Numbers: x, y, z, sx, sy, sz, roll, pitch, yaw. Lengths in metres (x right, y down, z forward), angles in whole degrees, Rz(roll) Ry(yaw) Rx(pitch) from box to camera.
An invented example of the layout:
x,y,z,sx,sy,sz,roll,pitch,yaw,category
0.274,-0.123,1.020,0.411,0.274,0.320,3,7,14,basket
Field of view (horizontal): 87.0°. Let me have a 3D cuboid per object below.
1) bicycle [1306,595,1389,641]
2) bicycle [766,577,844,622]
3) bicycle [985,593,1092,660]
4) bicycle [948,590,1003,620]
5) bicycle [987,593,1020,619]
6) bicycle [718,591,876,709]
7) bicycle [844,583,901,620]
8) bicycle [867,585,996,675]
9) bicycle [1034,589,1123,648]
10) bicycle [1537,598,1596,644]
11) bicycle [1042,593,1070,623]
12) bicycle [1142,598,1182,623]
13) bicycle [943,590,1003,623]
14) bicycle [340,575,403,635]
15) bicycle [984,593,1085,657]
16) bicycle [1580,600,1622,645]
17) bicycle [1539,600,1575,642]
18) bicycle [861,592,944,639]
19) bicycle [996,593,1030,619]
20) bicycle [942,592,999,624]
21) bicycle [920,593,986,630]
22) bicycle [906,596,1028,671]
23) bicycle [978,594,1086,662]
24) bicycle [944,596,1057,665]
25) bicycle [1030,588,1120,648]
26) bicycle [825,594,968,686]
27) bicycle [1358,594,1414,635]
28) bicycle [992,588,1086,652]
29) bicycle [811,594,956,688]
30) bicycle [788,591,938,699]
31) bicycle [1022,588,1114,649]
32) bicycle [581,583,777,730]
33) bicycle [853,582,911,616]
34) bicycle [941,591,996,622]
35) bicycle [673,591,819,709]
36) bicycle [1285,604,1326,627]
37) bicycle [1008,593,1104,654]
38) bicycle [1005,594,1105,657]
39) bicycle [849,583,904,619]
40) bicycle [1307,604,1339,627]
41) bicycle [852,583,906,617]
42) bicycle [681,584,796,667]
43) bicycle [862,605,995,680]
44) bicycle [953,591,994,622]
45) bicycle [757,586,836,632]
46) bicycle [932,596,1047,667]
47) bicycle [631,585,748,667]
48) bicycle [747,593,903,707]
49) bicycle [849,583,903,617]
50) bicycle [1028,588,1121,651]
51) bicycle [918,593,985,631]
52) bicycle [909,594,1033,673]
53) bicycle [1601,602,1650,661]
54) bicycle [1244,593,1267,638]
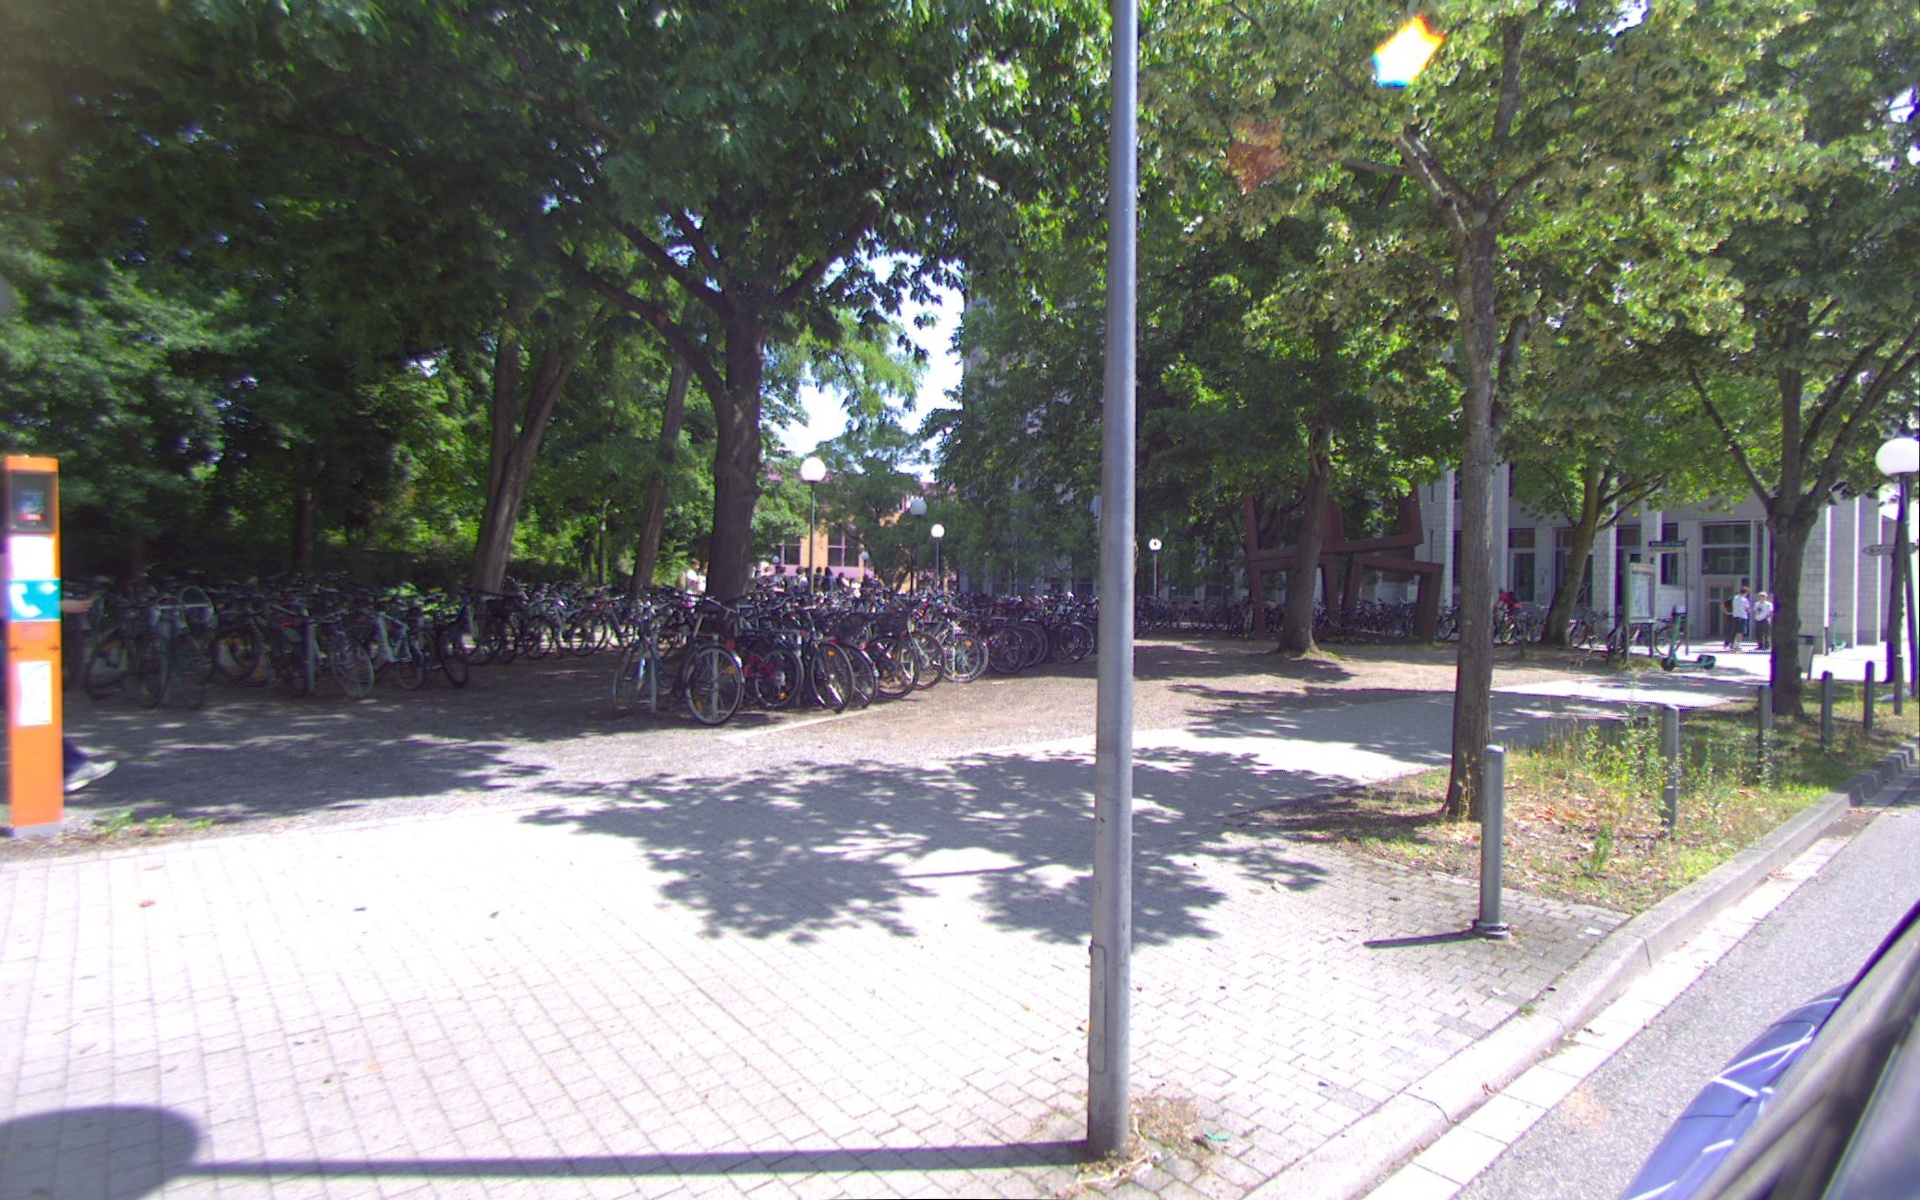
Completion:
x,y,z,sx,sy,sz,roll,pitch,yaw,category
9.848,0.440,25.770,1.896,1.123,0.630,1,1,13,bicycle
-3.703,-0.023,24.202,1.880,0.991,0.376,2,1,20,bicycle
1.354,0.449,17.517,1.770,1.083,0.424,2,0,20,bicycle
0.551,0.184,36.153,1.874,0.991,0.477,2,1,12,bicycle
1.930,0.269,44.961,0.527,1.098,1.661,-2,-3,44,bicycle
-1.731,0.478,10.510,1.940,1.096,0.399,2,0,38,bicycle
-2.532,0.041,29.394,1.571,0.991,0.403,2,1,11,bicycle
-0.392,0.400,14.065,1.713,1.169,0.492,2,0,14,bicycle
2.502,0.381,21.405,1.819,1.185,0.343,2,0,16,bicycle
16.372,0.557,27.302,1.494,1.155,0.493,3,0,-21,bicycle
3.645,0.289,38.350,0.350,1.097,1.452,1,0,36,bicycle
9.432,0.488,47.280,0.560,1.117,1.830,3,-1,-42,bicycle
0.421,0.199,32.605,1.870,0.991,0.478,2,1,6,bicycle
-11.654,0.080,20.026,1.598,1.107,0.344,2,1,31,bicycle
1.347,0.441,18.367,1.772,1.083,0.423,2,0,22,bicycle
17.068,0.601,26.931,1.464,1.155,0.560,3,1,-43,bicycle
16.549,0.589,28.042,1.416,1.099,0.460,3,1,-43,bicycle
-1.327,0.353,23.215,1.880,0.991,0.376,2,1,20,bicycle
2.291,0.259,43.608,0.527,1.098,1.661,-2,-3,44,bicycle
0.339,0.272,33.616,1.868,0.991,0.479,2,1,0,bicycle
-0.202,0.332,29.367,1.871,0.991,0.478,2,1,7,bicycle
0.103,0.488,15.152,1.773,1.041,0.438,2,0,18,bicycle
1.210,0.457,17.104,1.770,1.083,0.424,2,0,20,bicycle
0.653,0.472,16.296,1.770,1.041,0.379,2,0,19,bicycle
2.394,0.363,21.069,1.819,1.185,0.343,2,0,16,bicycle
-0.823,0.480,12.853,1.895,1.073,0.322,2,0,27,bicycle
12.079,0.412,28.673,1.791,1.091,0.464,3,1,-33,bicycle
1.543,0.374,19.833,1.768,1.185,0.400,2,0,16,bicycle
-0.968,0.483,12.582,1.895,1.073,0.322,2,0,27,bicycle
-1.137,0.472,11.470,1.940,1.096,0.399,2,0,38,bicycle
2.203,0.361,20.739,1.819,1.185,0.400,2,0,16,bicycle
-2.591,0.455,9.196,2.010,1.181,0.643,2,0,38,bicycle
-2.426,-0.038,31.629,1.769,0.991,0.378,2,1,4,bicycle
0.297,0.214,34.975,1.868,0.991,0.479,2,1,0,bicycle
-2.236,0.478,10.436,1.764,1.096,0.432,2,0,38,bicycle
14.471,0.642,42.353,1.739,0.911,0.449,1,-1,-22,bicycle
1.823,0.439,19.276,1.767,1.083,0.425,2,0,14,bicycle
1.749,0.454,18.647,1.772,1.083,0.423,2,0,22,bicycle
-2.455,0.029,29.795,1.571,0.991,0.403,2,1,11,bicycle
14.949,0.629,41.662,1.743,0.911,0.337,0,0,-36,bicycle
-2.464,-0.014,30.902,1.571,0.991,0.403,2,1,11,bicycle
-3.118,0.325,14.448,0.474,1.096,1.885,2,2,28,bicycle
-0.431,0.549,13.549,1.717,0.921,0.491,2,0,21,bicycle
0.499,0.243,37.310,1.442,1.098,0.479,0,-2,-8,bicycle
-3.852,0.193,23.765,1.880,0.991,0.376,2,1,20,bicycle
0.455,0.478,15.987,1.769,1.041,0.379,2,0,18,bicycle
-3.896,0.344,14.738,0.474,1.096,1.885,2,2,28,bicycle
-1.483,0.494,10.855,1.940,1.096,0.399,2,0,38,bicycle
-2.538,-0.006,30.513,1.571,0.991,0.403,2,1,11,bicycle
2.265,0.377,20.044,1.768,1.185,0.400,2,0,16,bicycle
-0.243,0.341,28.992,1.871,0.991,0.478,2,1,7,bicycle
0.165,0.464,14.638,1.713,1.065,0.492,2,0,14,bicycle
13.747,0.629,20.926,0.622,1.097,1.674,-1,2,26,bicycle
7.866,0.384,26.947,0.468,1.123,1.664,1,1,12,bicycle
